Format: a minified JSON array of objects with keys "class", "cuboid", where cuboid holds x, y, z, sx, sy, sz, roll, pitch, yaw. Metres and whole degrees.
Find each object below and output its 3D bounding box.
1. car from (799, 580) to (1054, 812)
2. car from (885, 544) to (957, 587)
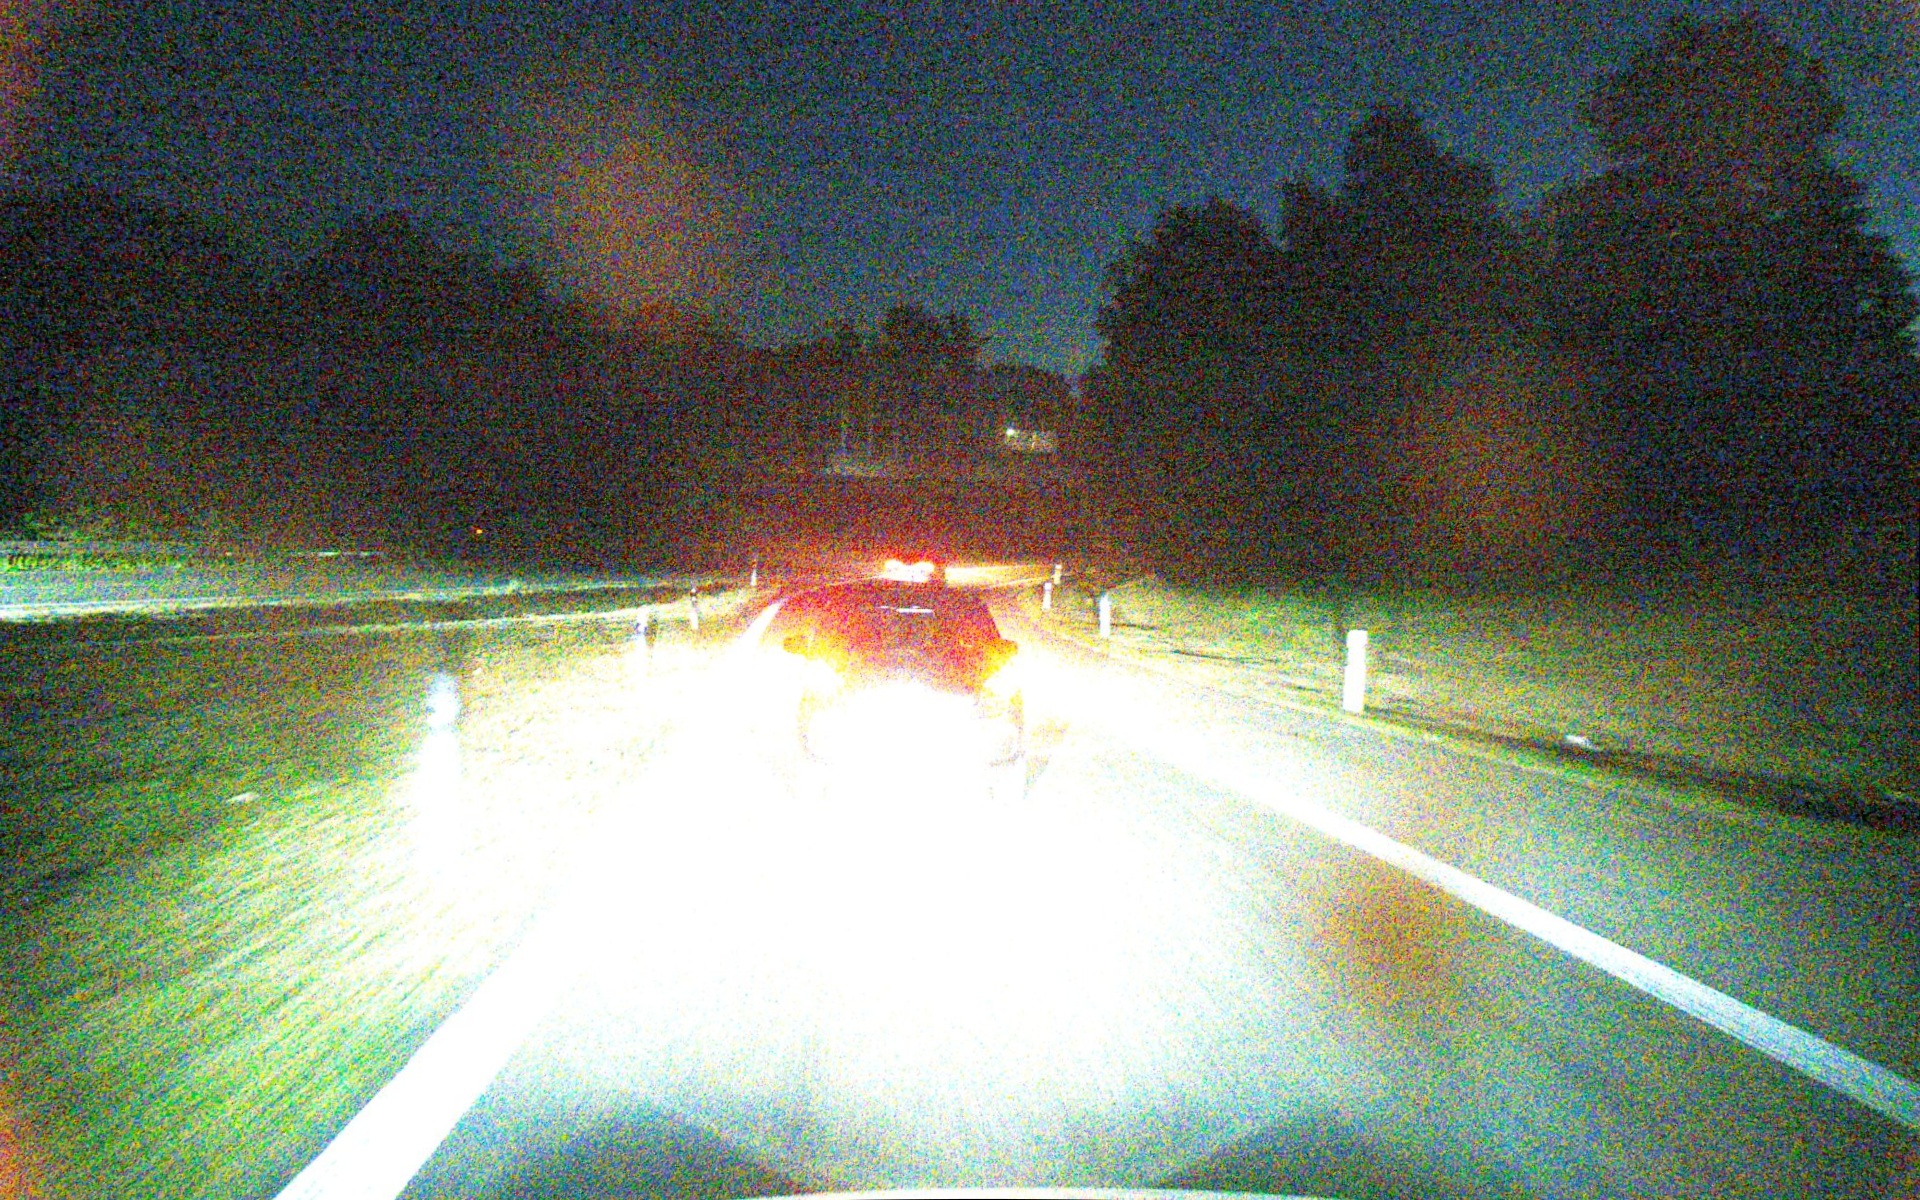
[{"class":"car","cuboid":[-0.249,0.606,12.780,1.657,1.503,3.999,0,1,-1]},{"class":"car","cuboid":[-1.435,-1.273,62.371,1.909,1.565,4.245,0,1,10]}]
